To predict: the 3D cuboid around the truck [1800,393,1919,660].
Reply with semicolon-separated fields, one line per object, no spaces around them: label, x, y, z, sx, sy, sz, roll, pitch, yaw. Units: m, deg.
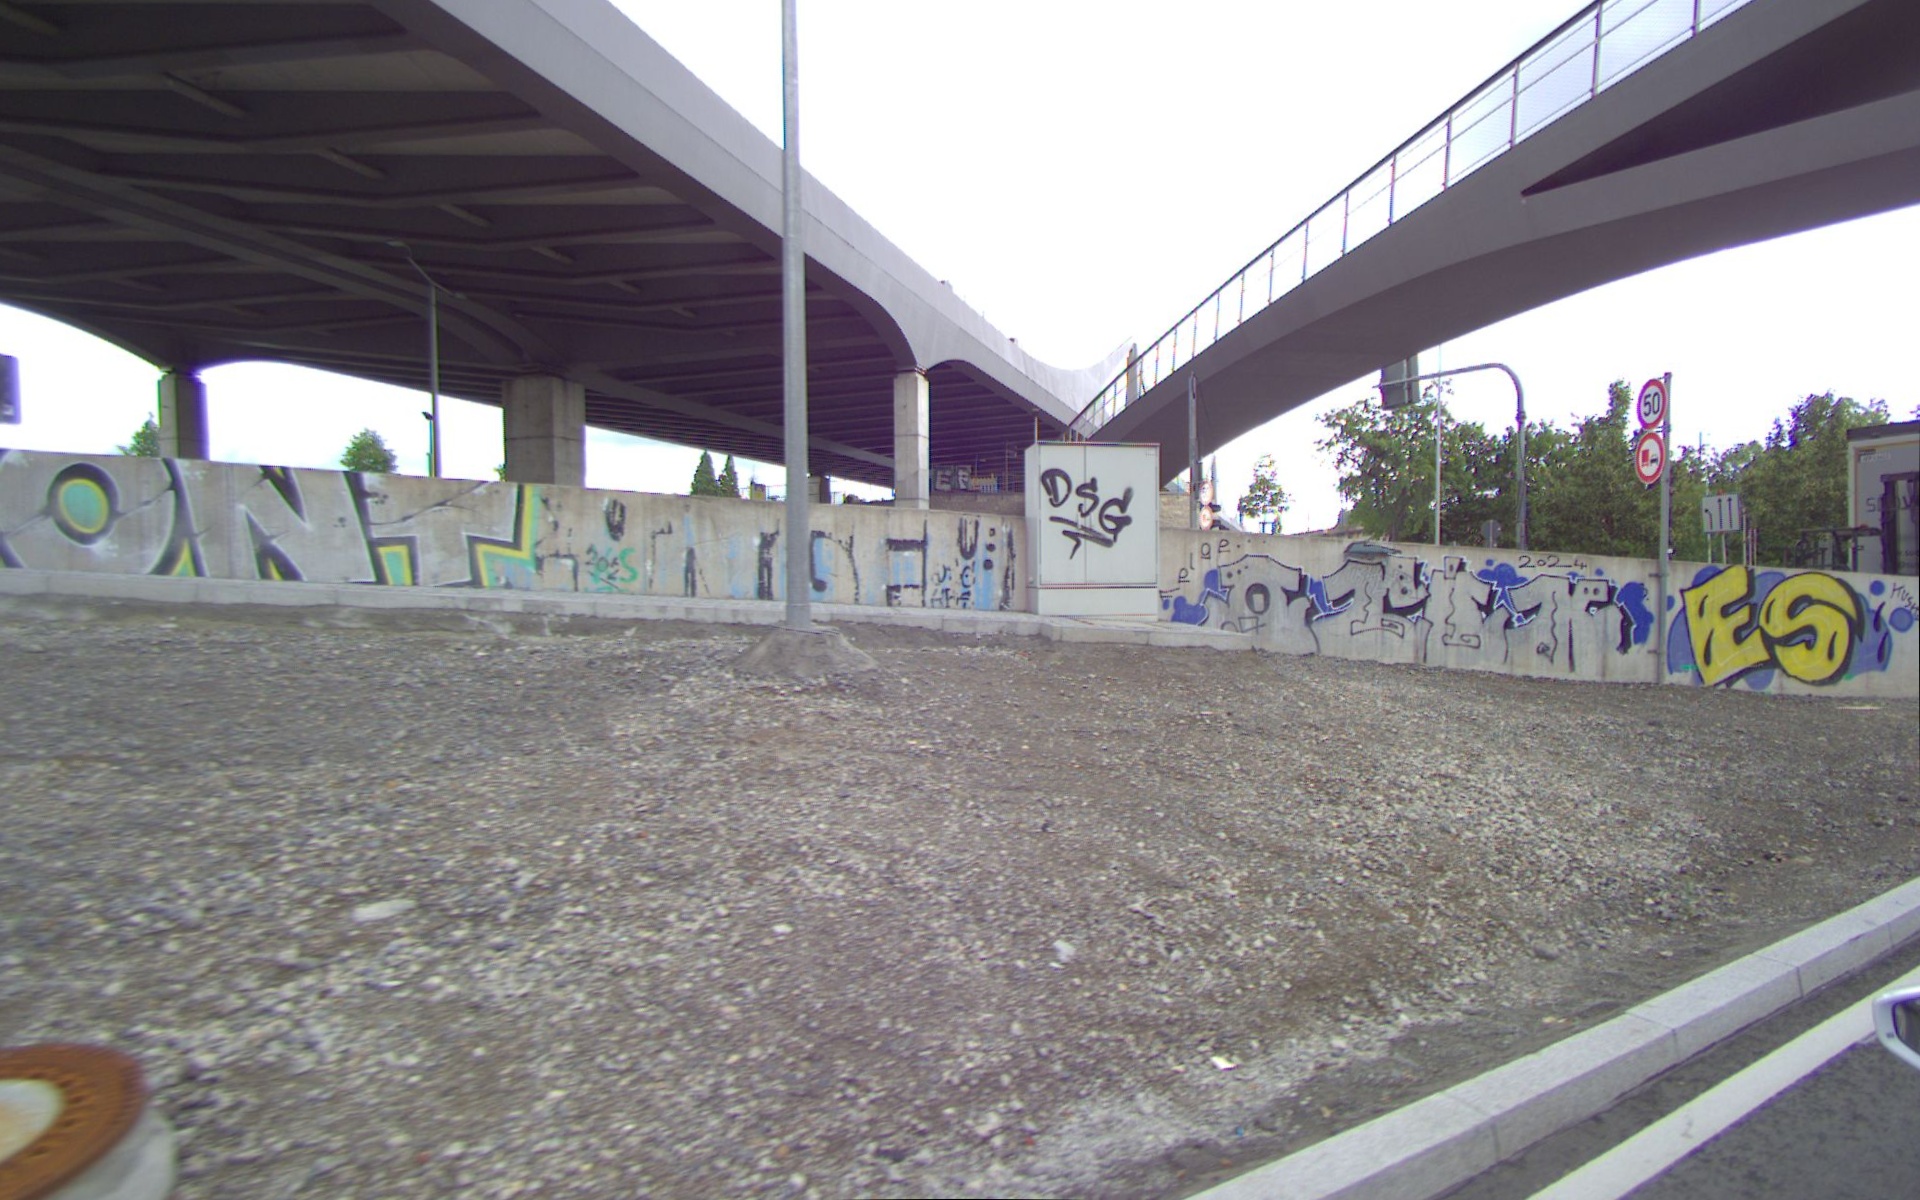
truck;19.534;-1.322;16.514;10.014;4.072;2.922;-2;3;-9
